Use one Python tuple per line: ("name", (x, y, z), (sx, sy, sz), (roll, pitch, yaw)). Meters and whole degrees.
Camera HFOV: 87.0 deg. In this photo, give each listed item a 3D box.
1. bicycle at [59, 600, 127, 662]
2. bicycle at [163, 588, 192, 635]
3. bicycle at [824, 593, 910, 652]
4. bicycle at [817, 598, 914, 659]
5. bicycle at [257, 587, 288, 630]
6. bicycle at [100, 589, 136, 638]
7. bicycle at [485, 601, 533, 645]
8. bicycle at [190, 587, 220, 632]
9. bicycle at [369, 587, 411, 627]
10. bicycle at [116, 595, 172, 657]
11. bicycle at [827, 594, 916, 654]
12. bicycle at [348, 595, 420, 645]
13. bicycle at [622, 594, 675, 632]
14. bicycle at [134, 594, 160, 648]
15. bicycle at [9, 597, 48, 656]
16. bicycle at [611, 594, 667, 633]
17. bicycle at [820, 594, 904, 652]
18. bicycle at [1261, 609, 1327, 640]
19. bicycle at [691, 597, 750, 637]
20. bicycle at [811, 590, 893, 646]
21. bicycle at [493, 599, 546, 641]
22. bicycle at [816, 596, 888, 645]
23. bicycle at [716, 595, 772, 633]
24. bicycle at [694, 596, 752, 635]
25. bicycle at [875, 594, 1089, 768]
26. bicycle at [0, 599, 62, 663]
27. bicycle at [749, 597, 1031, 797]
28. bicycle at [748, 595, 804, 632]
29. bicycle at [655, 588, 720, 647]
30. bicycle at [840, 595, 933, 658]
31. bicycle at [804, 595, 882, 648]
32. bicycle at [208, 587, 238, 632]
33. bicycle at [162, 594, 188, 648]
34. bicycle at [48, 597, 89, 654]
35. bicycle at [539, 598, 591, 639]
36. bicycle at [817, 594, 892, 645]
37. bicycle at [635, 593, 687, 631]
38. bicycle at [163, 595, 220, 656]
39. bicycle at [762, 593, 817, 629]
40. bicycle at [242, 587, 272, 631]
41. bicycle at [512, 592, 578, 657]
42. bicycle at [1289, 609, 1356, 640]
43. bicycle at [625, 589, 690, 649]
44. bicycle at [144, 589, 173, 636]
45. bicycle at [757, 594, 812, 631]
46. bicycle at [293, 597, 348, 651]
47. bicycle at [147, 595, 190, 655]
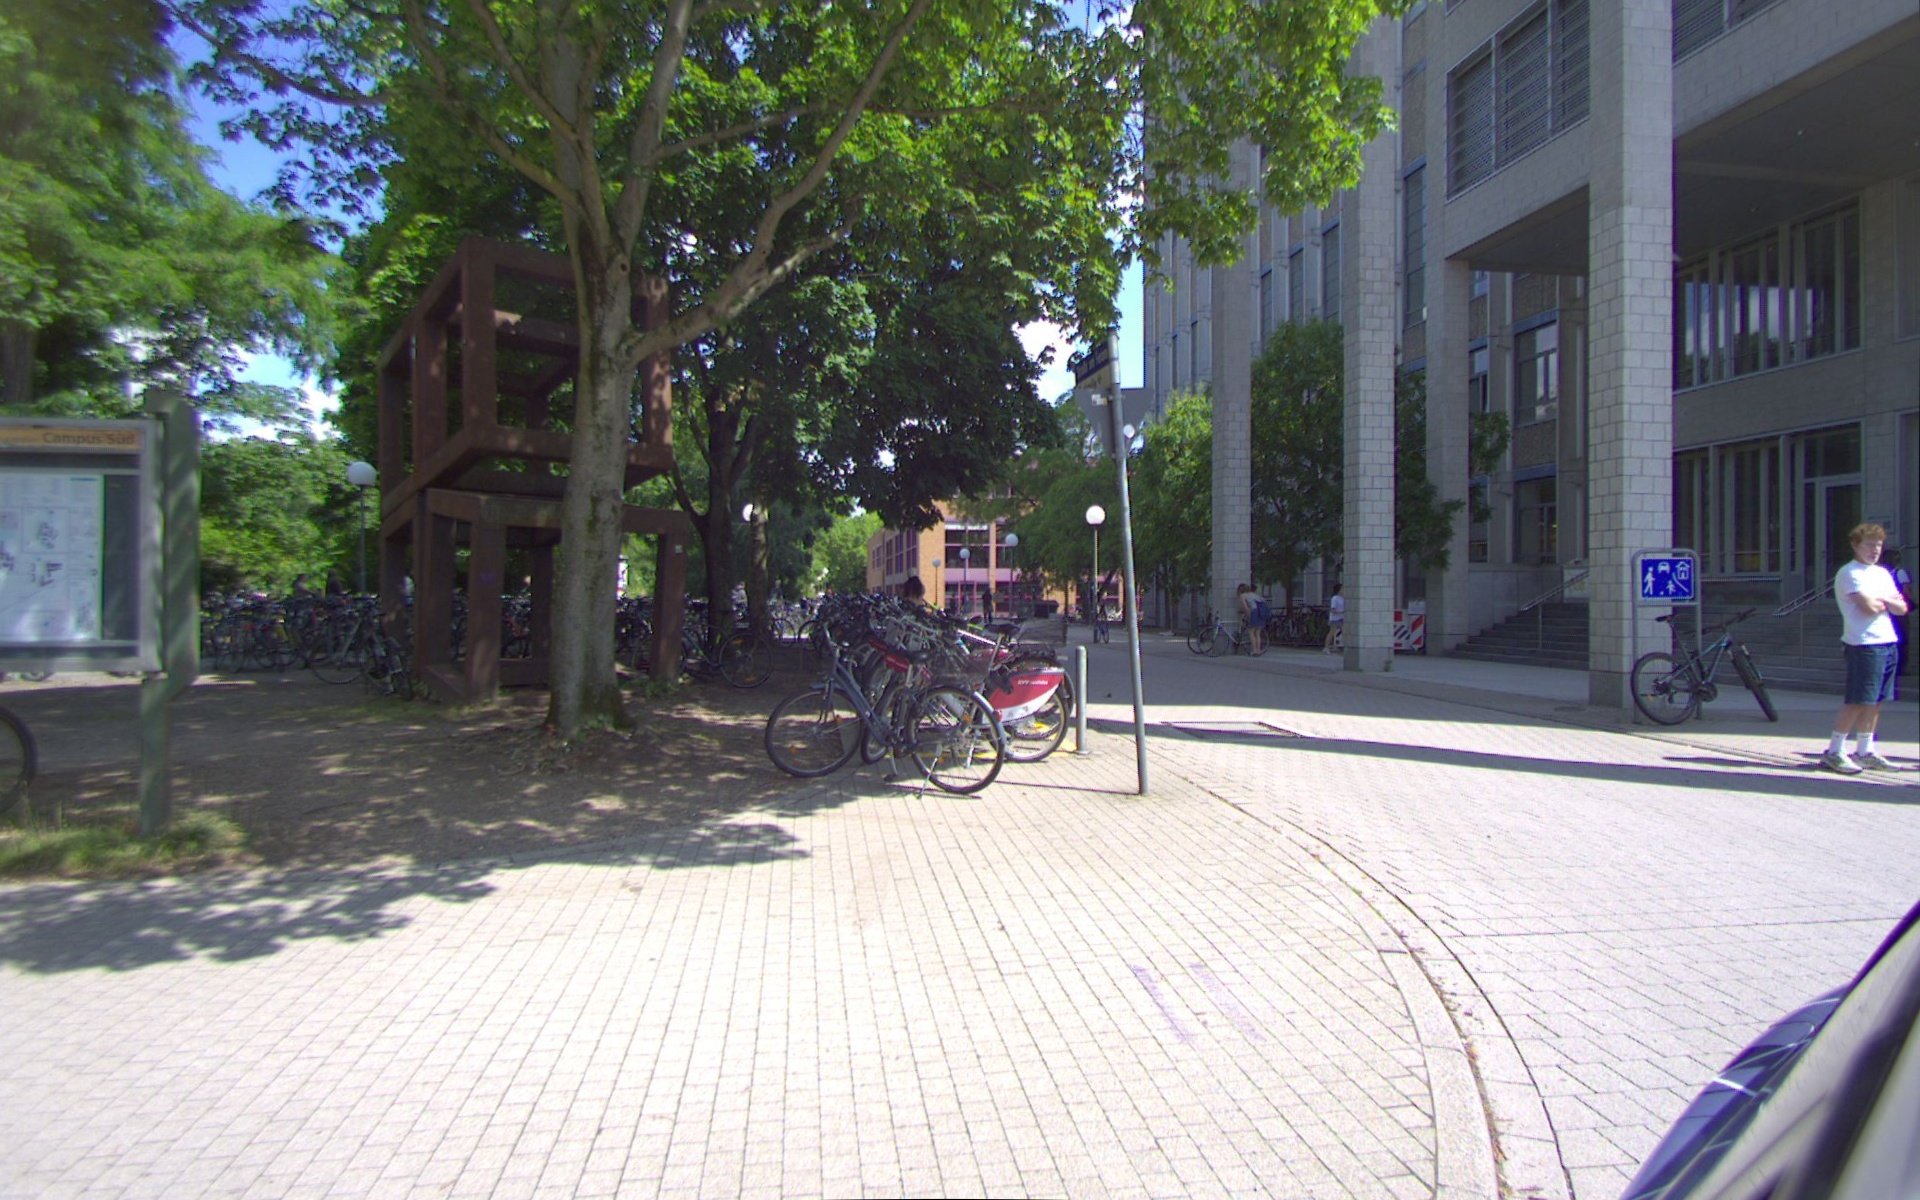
("bicycle", (-14.935, 0.516, 17.415), (1.890, 0.991, 0.374), (1, 1, 34))
("bicycle", (-19.373, 0.273, 25.048), (1.606, 1.107, 0.342), (1, 2, 44))
("bicycle", (-1.852, 0.457, 20.115), (1.653, 1.144, 0.455), (1, -3, -14))
("bicycle", (-1.690, 0.516, 18.013), (1.653, 1.061, 0.502), (1, -3, -14))
("bicycle", (-18.136, 0.212, 26.688), (1.606, 1.107, 0.342), (1, 2, 44))
("bicycle", (-20.077, 0.311, 24.126), (1.606, 1.107, 0.471), (1, 2, 44))
("bicycle", (-11.414, 0.580, 25.596), (1.460, 1.098, 0.348), (-1, -3, 32))
("bicycle", (-19.247, 0.235, 25.789), (1.606, 1.107, 0.342), (1, 2, 44))
("bicycle", (-16.409, 0.194, 29.106), (1.599, 1.107, 0.344), (0, 1, 33))
("bicycle", (-14.601, 0.440, 18.087), (1.735, 1.035, 0.471), (1, 1, 41))
("bicycle", (-1.700, 0.469, 19.480), (1.653, 1.144, 0.455), (1, -3, -14))
("bicycle", (-12.032, 0.401, 21.107), (1.889, 0.991, 0.473), (0, 1, 33))
("bicycle", (-9.235, 0.388, 29.990), (1.674, 1.098, 0.473), (-1, -3, 30))
("bicycle", (-15.991, 0.397, 19.926), (0.372, 0.991, 1.902), (-1, 2, -38))
("bicycle", (-17.058, 0.464, 18.544), (0.372, 0.991, 1.902), (-1, 2, -38))
("bicycle", (-9.373, 0.408, 29.537), (1.669, 1.098, 0.475), (-1, -3, 24))
("bicycle", (-1.995, 0.478, 20.685), (1.653, 1.144, 0.455), (1, -3, -14))
("bicycle", (9.144, 0.659, 27.764), (0.630, 0.769, 1.994), (1, 1, -19))
("bicycle", (-6.814, 0.492, 28.729), (1.669, 1.098, 0.475), (-1, -3, 23))
("bicycle", (-2.269, 0.389, 21.221), (1.653, 1.144, 0.455), (1, -3, -14))
("bicycle", (-11.658, 0.532, 26.787), (1.454, 1.098, 0.350), (-1, -3, 21))
("bicycle", (-2.559, 0.496, 23.968), (1.653, 1.144, 0.479), (1, -3, -14))
("bicycle", (-6.403, 0.430, 29.978), (1.669, 1.098, 0.475), (-1, -3, 23))
("bicycle", (-6.857, 0.462, 29.274), (1.669, 1.098, 0.475), (-1, -3, 23))
("bicycle", (0.151, 0.557, 7.382), (1.459, 1.155, 0.563), (-1, 2, -11))
("bicycle", (-15.504, 0.493, 16.797), (1.889, 0.991, 0.374), (0, 1, 32))
("bicycle", (-0.471, 0.576, 6.636), (1.767, 1.155, 0.601), (0, 2, 24))
("bicycle", (-5.545, 0.416, 30.458), (1.669, 1.098, 0.475), (-1, -3, 23))
("bicycle", (-5.730, 0.343, 21.209), (1.838, 1.185, 0.407), (0, 0, 43))
("bicycle", (-1.357, 0.492, 18.675), (1.653, 1.144, 0.455), (1, -3, -14))
("bicycle", (-2.581, 0.490, 22.300), (1.653, 1.144, 0.455), (1, -3, -14))
("bicycle", (-18.971, 0.234, 26.034), (1.606, 1.107, 0.342), (1, 2, 44))
("bicycle", (-15.669, 0.397, 20.189), (0.372, 0.991, 1.902), (-1, 2, -38))
("bicycle", (-16.767, 0.455, 19.052), (0.470, 0.991, 1.902), (-1, 2, -38))
("bicycle", (-10.723, 0.510, 27.431), (1.677, 1.098, 0.472), (-2, -3, 36))
("bicycle", (-2.437, 0.453, 23.396), (1.653, 1.144, 0.479), (1, -3, -14))
("bicycle", (-9.001, 0.368, 30.422), (1.674, 1.098, 0.473), (-1, -3, 30))
("bicycle", (-14.037, 0.440, 18.471), (1.735, 1.035, 0.471), (1, 1, 41))
("bicycle", (-5.346, 0.349, 31.765), (1.661, 1.098, 0.477), (0, -3, 10))
("bicycle", (-18.393, 0.220, 26.459), (1.606, 1.107, 0.342), (1, 2, 44))
("bicycle", (-7.836, 0.435, 19.078), (1.838, 1.185, 0.407), (0, 0, 43))
("bicycle", (9.929, 0.668, 27.803), (0.630, 0.769, 1.994), (1, 1, -19))
("bicycle", (-6.197, 0.367, 20.674), (1.838, 1.185, 0.407), (0, 0, 43))
("bicycle", (-19.648, 0.282, 24.786), (1.606, 1.107, 0.342), (1, 2, 44))
("bicycle", (-5.372, 0.395, 30.899), (1.669, 1.098, 0.475), (-1, -3, 23))
("bicycle", (-12.719, 0.449, 20.101), (1.897, 0.991, 0.471), (1, 2, 44))
("bicycle", (-14.396, 0.436, 18.396), (1.735, 1.035, 0.289), (1, 1, 41))
